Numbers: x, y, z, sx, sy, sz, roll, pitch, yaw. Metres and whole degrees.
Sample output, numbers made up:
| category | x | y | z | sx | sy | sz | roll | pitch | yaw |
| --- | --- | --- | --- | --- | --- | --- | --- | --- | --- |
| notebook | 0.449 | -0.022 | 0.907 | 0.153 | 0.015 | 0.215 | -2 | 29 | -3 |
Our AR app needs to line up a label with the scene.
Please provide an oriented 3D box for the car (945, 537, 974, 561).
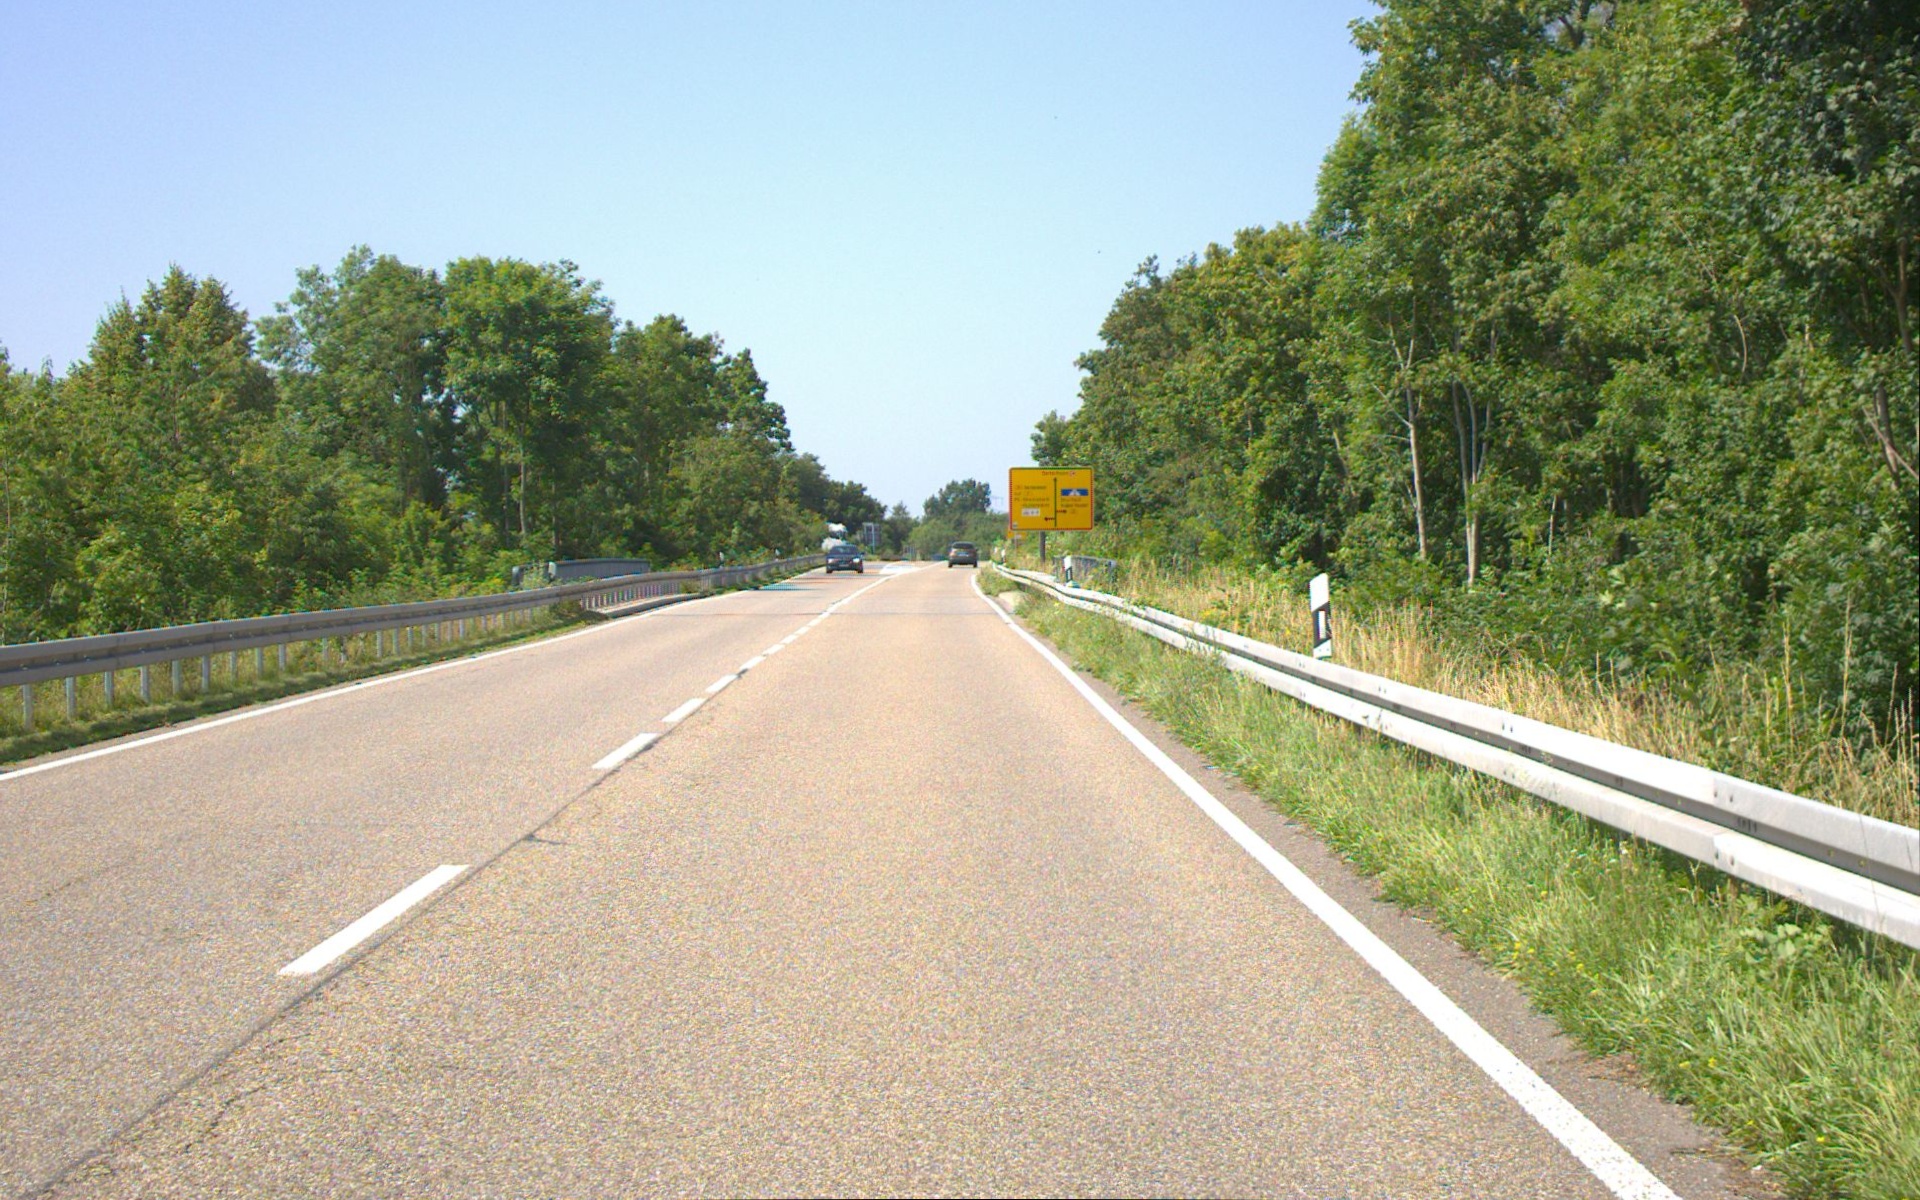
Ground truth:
| category | x | y | z | sx | sy | sz | roll | pitch | yaw |
| --- | --- | --- | --- | --- | --- | --- | --- | --- | --- |
| car | -0.005 | -3.143 | 211.846 | 1.741 | 1.465 | 3.692 | 0 | 1 | 1 |

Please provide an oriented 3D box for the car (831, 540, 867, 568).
| category | x | y | z | sx | sy | sz | roll | pitch | yaw |
| --- | --- | --- | --- | --- | --- | --- | --- | --- | --- |
| car | -5.714 | -2.400 | 177.393 | 1.746 | 1.420 | 4.677 | 0 | 1 | 0 |
